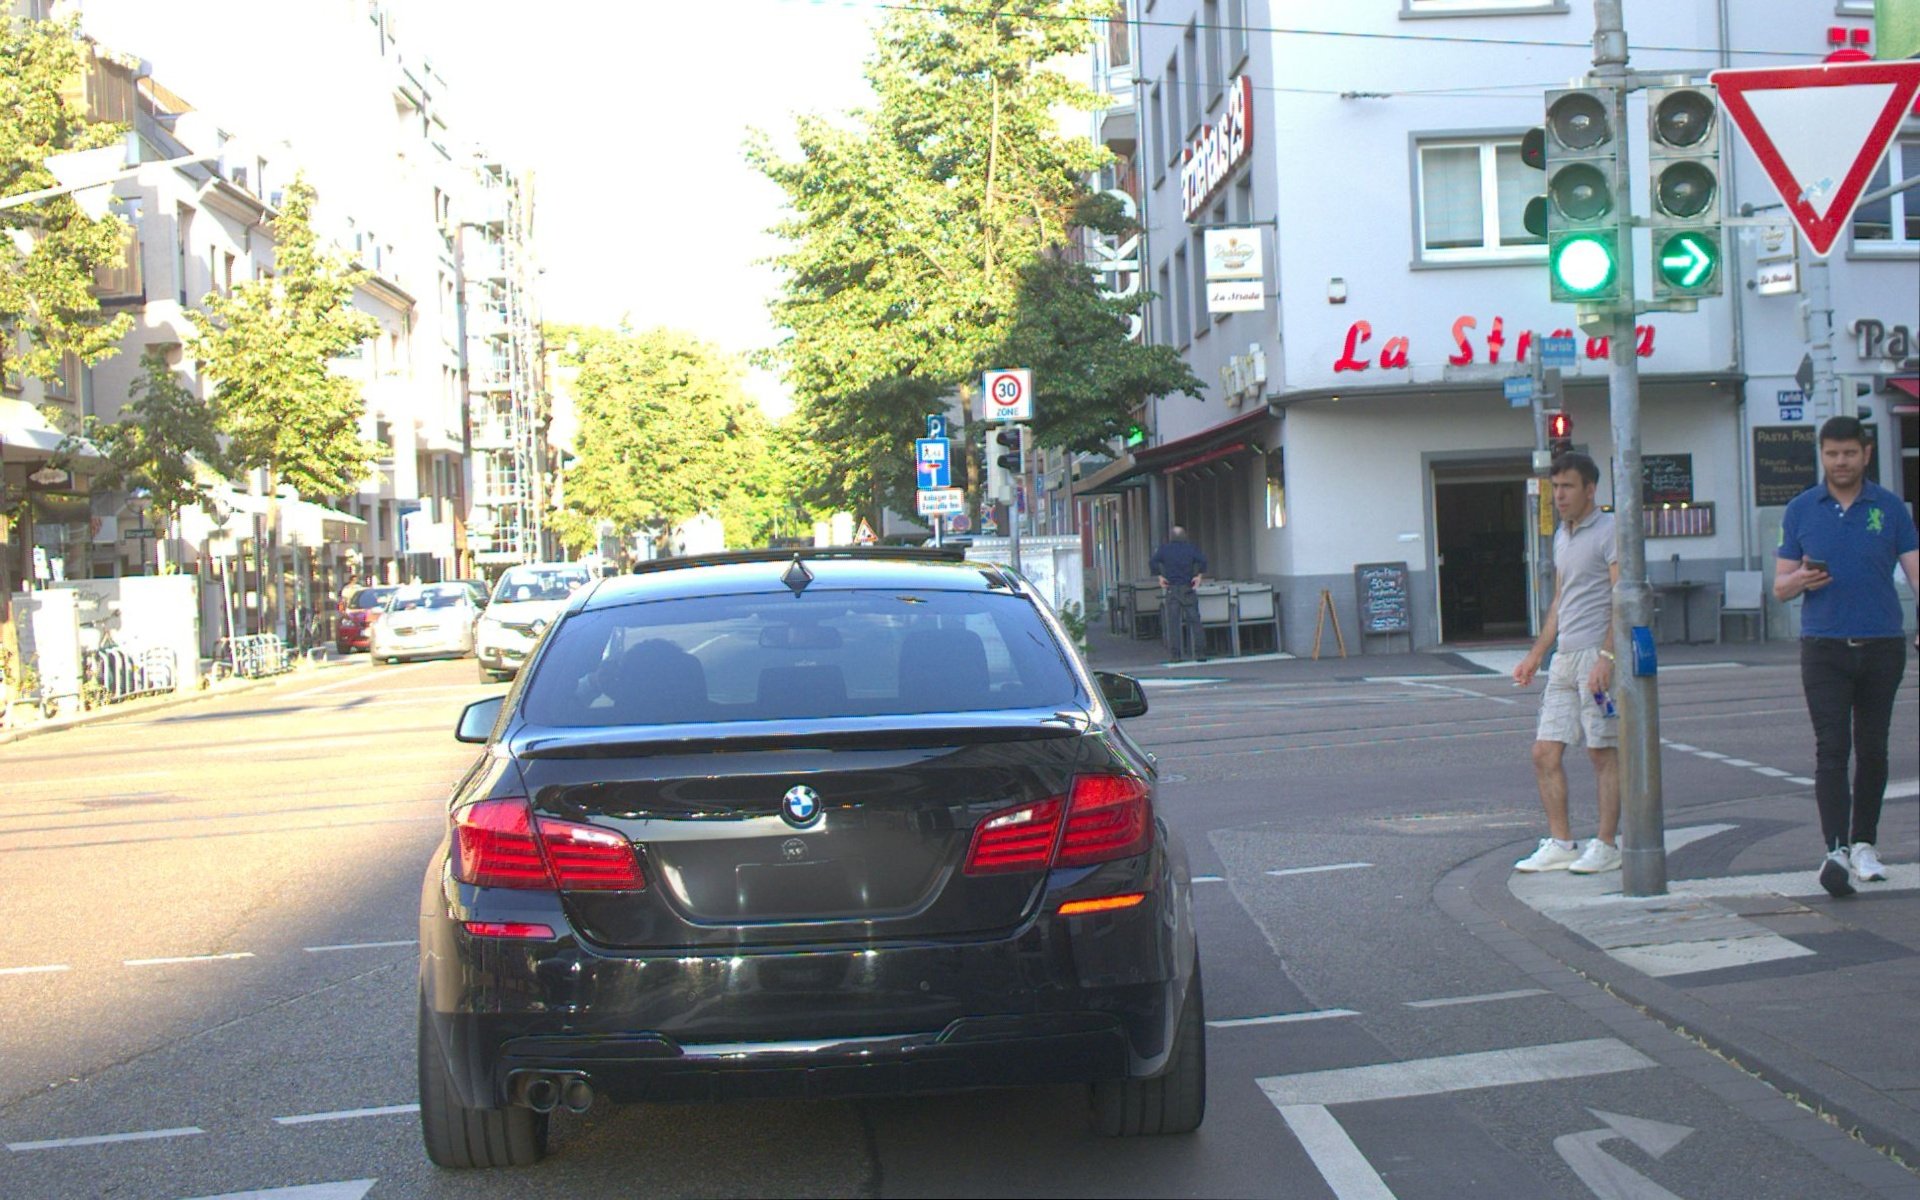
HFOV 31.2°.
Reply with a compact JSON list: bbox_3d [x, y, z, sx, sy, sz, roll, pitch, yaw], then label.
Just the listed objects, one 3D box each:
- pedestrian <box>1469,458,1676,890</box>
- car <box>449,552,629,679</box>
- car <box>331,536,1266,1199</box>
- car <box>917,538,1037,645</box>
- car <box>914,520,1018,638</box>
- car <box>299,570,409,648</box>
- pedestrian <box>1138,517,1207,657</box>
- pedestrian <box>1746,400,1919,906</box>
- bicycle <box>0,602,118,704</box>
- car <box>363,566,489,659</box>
[{"bbox_3d":[2.546,0.298,14.262,0.652,1.736,0.693,-2,1,22],"label":"pedestrian"},{"bbox_3d":[-5.722,0.207,47.167,2.108,1.551,4.013,-3,0,-3],"label":"car"},{"bbox_3d":[-0.359,0.604,9.515,1.953,1.493,4.465,-1,1,0],"label":"car"},{"bbox_3d":[0.267,-0.137,50.121,1.640,1.439,3.607,-2,1,1],"label":"car"},{"bbox_3d":[0.126,-0.382,56.784,1.640,1.867,3.607,1,1,1],"label":"car"},{"bbox_3d":[-13.154,0.185,74.756,1.834,1.551,3.780,-3,0,-3],"label":"car"},{"bbox_3d":[2.585,-0.163,41.917,0.711,1.670,0.703,-2,1,-2],"label":"pedestrian"},{"bbox_3d":[3.428,0.185,12.965,0.691,1.821,0.880,-3,0,5],"label":"pedestrian"},{"bbox_3d":[-11.789,0.670,43.010,2.366,1.248,0.640,-1,0,-6],"label":"bicycle"},{"bbox_3d":[-9.622,0.198,62.155,1.834,1.551,3.780,-2,1,-3],"label":"car"}]
